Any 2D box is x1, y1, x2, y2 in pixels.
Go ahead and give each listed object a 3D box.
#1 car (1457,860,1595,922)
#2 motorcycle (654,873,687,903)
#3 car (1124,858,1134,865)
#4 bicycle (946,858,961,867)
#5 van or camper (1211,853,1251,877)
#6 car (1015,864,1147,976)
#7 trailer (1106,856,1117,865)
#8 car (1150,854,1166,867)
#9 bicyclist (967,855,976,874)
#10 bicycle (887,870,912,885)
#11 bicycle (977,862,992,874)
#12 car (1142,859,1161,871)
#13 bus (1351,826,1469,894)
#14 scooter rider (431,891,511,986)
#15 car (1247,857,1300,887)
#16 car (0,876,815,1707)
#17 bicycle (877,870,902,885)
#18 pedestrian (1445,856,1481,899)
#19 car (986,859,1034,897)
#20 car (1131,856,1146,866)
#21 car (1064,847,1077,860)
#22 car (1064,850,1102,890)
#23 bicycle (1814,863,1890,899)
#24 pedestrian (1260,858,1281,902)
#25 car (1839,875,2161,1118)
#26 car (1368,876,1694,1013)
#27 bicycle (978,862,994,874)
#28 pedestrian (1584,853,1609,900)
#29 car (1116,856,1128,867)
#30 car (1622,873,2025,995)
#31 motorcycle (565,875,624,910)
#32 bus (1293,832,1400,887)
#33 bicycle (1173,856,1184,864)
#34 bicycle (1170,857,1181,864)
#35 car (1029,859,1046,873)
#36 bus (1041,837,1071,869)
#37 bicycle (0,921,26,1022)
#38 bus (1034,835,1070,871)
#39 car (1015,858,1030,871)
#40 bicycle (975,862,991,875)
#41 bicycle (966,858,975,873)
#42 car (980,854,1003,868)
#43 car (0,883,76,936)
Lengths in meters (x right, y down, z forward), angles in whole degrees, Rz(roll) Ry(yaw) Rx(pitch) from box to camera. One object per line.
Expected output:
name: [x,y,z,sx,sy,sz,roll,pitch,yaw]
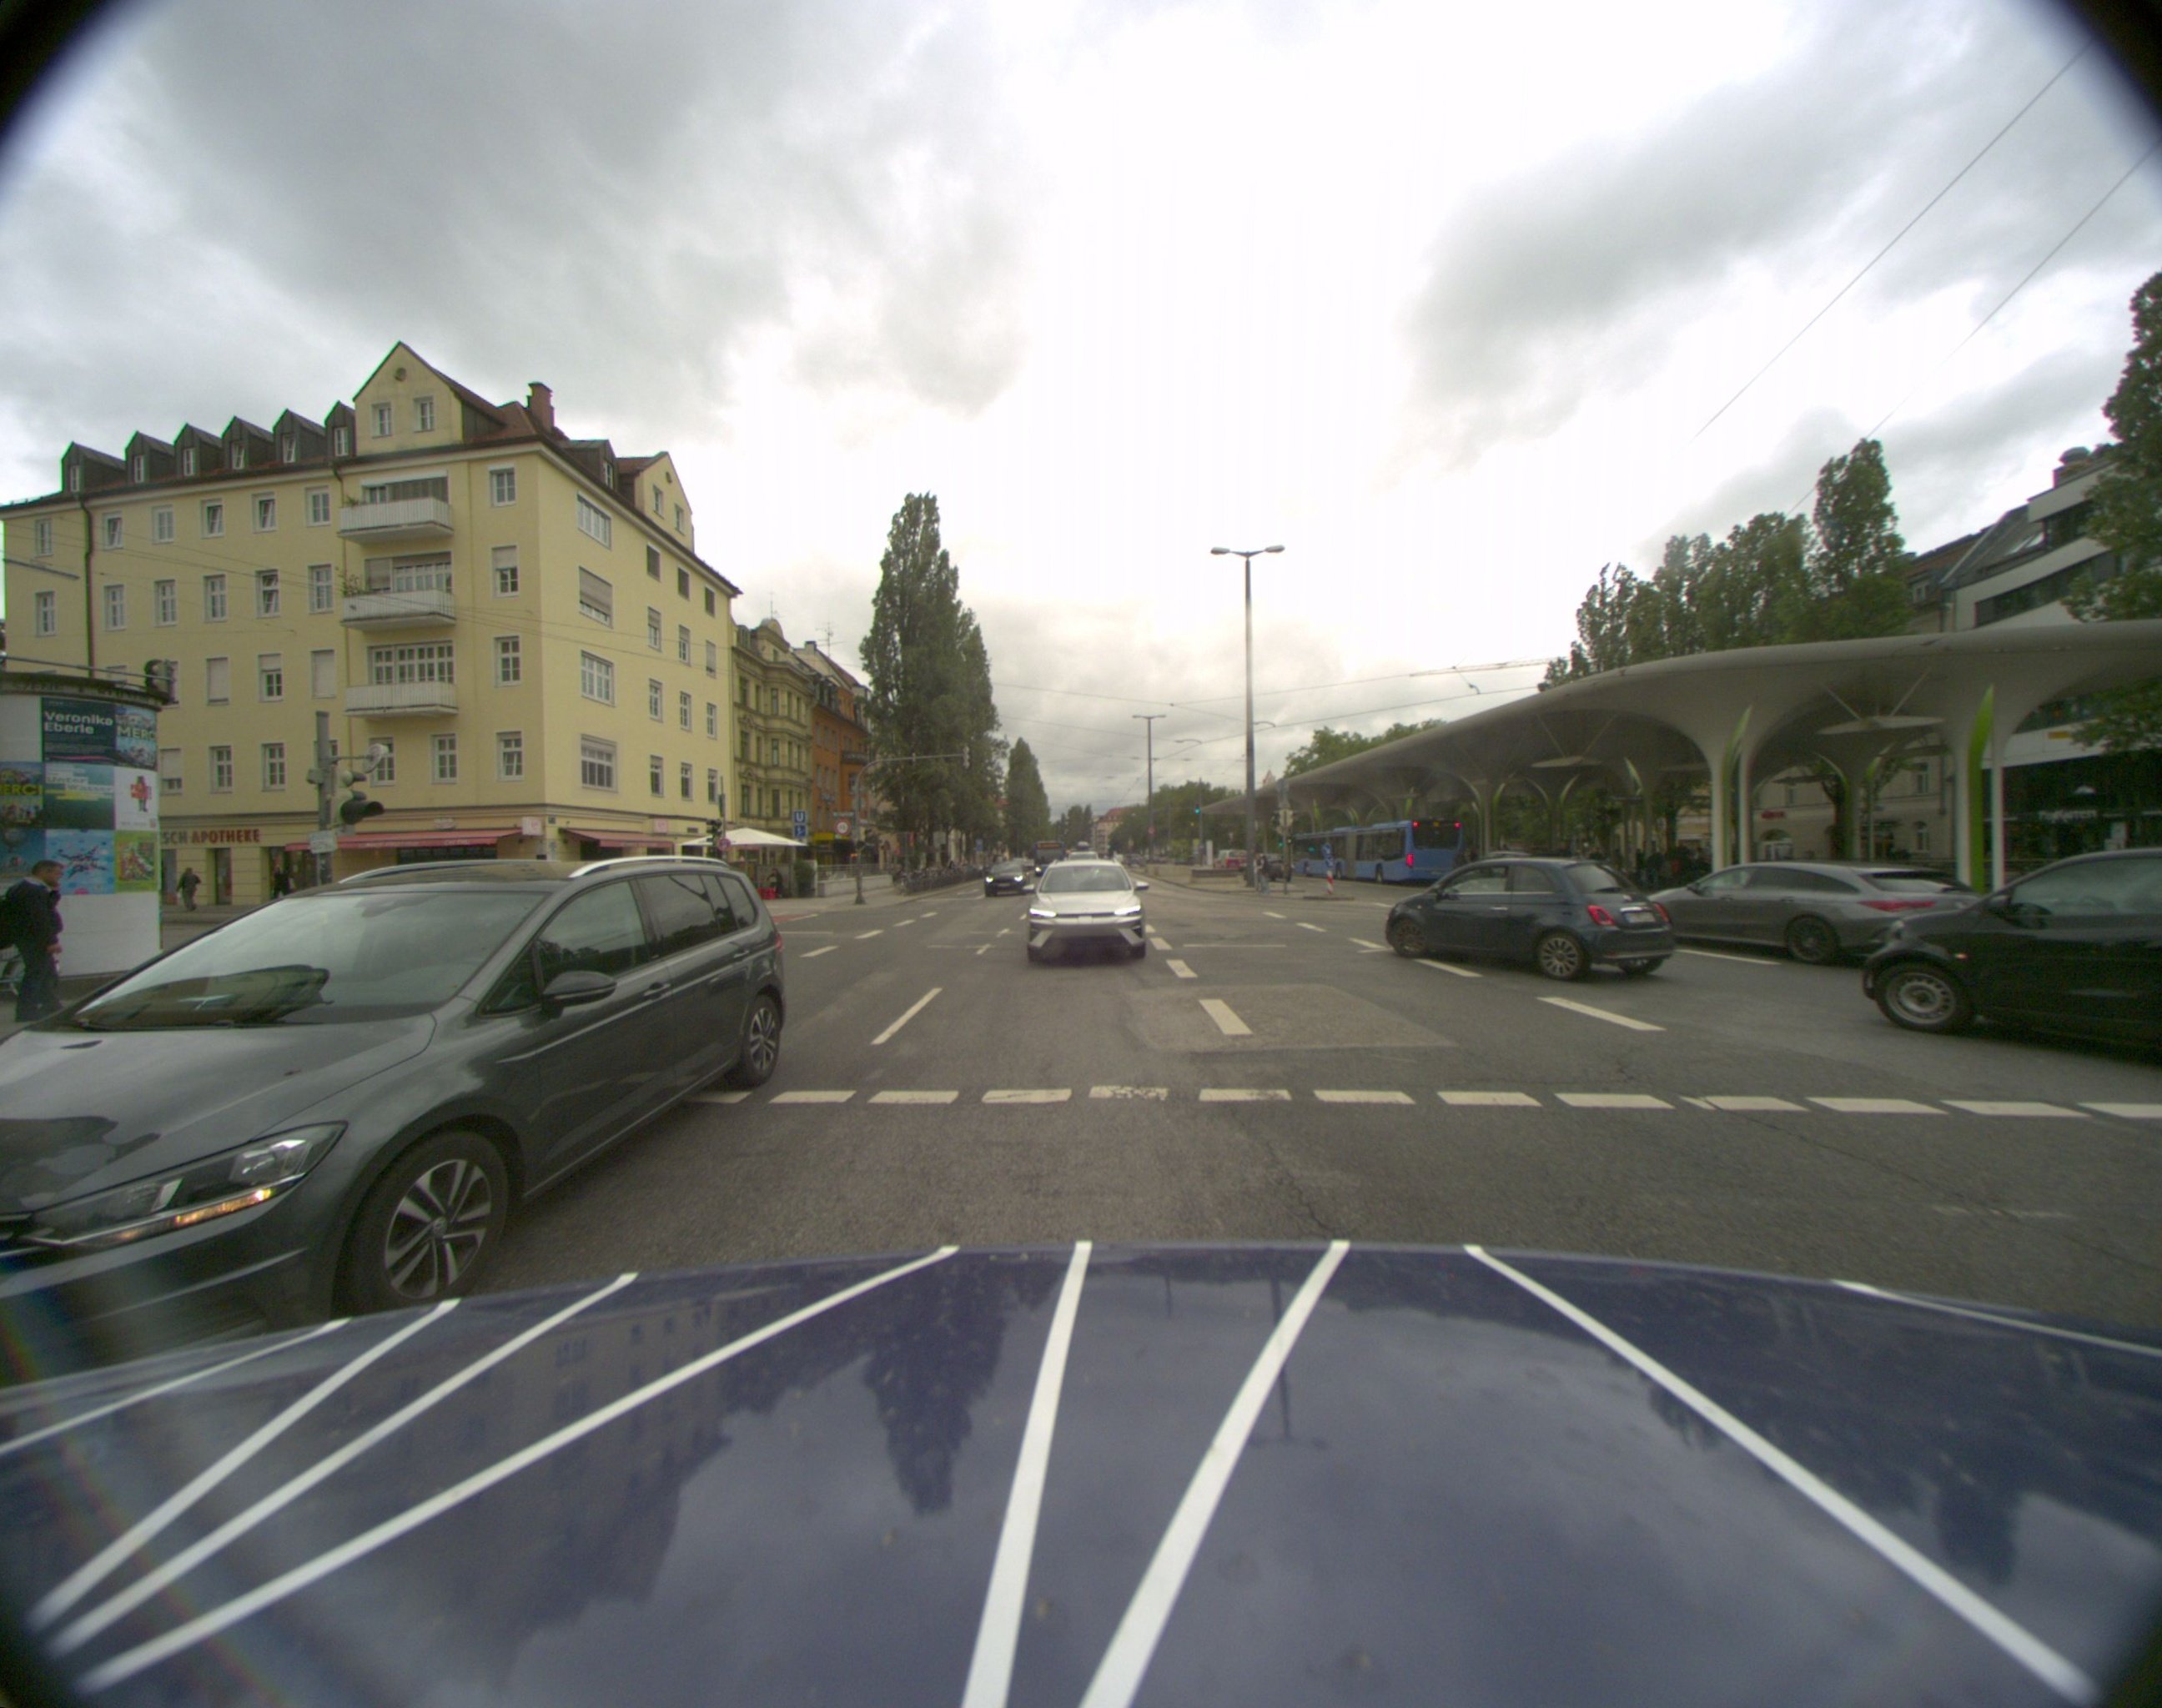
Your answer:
car: [13.060,1.018,22.595,1.787,1.652,4.000,-1,0,1]
motorcycle: [-16.986,1.382,31.461,0.487,1.149,1.571,-1,0,1]
car: [11.357,1.671,179.803,1.868,1.629,4.677,1,0,-2]
bicycle: [-16.316,1.085,97.245,1.890,1.147,0.464,-2,1,-42]
van or camper: [11.933,0.864,60.653,1.933,1.815,5.440,-1,0,-2]
car: [0.054,0.946,13.021,1.812,1.496,4.953,-1,0,1]
trailer: [9.576,2.053,240.051,2.616,2.666,15.639,1,0,0]
car: [11.093,0.910,110.096,1.911,1.829,3.868,-1,0,0]
bicyclist: [-9.468,0.888,65.775,0.681,1.594,0.939,-1,0,0]
bicycle: [-13.102,1.677,54.806,1.728,1.039,0.387,-2,-1,-6]
bicycle: [-8.180,1.219,64.454,0.376,0.989,1.837,-1,-1,-39]
car: [8.578,1.289,92.355,1.848,1.408,4.034,-1,0,-1]
bus: [15.991,0.288,37.643,2.667,2.990,7.513,1,0,1]
scooter rider: [-9.429,1.287,11.766,0.702,1.381,0.643,-1,0,-2]
car: [10.477,0.967,41.615,1.668,1.499,4.281,-2,0,-1]
car: [-3.130,0.998,3.927,1.776,1.637,4.708,-1,0,1]
bicycle: [-14.017,1.727,55.667,1.725,1.039,0.388,-2,-1,11]
pedestrian: [15.375,0.927,30.601,0.974,1.671,0.840,-1,0,-19]
car: [-3.110,1.040,33.964,1.780,1.495,3.969,-1,1,0]
car: [10.882,1.312,143.417,2.181,1.876,6.155,-1,0,-2]
car: [-2.340,-0.058,176.714,2.806,2.836,5.114,-1,0,0]
car: [0.111,0.871,42.866,1.999,2.100,4.000,-1,0,0]
bicycle: [25.870,0.886,25.550,0.642,1.118,2.167,-1,0,9]
pedestrian: [7.076,0.947,28.316,0.488,1.609,0.556,-1,1,-34]
car: [7.678,0.956,5.436,1.508,1.525,2.835,1,0,-8]
car: [5.802,1.041,10.250,1.552,1.437,3.532,0,-1,-25]
bicycle: [-8.130,1.217,65.095,0.376,0.989,1.837,-1,-1,-39]
pedestrian: [18.929,0.828,27.908,0.548,1.710,0.615,-1,1,8]
car: [7.391,1.348,138.743,1.791,1.844,4.217,0,0,-2]
car: [10.774,1.053,11.575,1.999,1.403,4.167,-1,0,-2]
motorcycle: [-17.697,1.378,27.668,1.769,1.193,0.541,-1,1,-30]
bus: [15.938,0.311,46.648,2.667,2.990,10.514,1,0,-1]
bicycle: [16.032,0.999,125.071,1.693,1.165,0.561,-1,0,-10]
bicycle: [15.675,1.019,126.235,1.693,1.165,0.561,-1,0,-10]
car: [-5.225,1.392,91.939,1.780,1.515,3.969,-2,1,0]
bus: [-2.506,-0.085,78.508,2.637,2.956,8.534,-3,0,0]
bicycle: [-13.370,1.372,8.823,1.572,1.153,0.525,0,-1,3]
bus: [-2.547,-0.090,69.498,2.637,2.956,9.466,-3,0,0]
car: [-7.887,1.413,102.661,1.737,1.651,4.502,-1,0,-1]
bicycle: [-8.205,1.219,63.690,0.376,0.989,1.837,-1,-1,-39]
bicycle: [-9.565,0.999,65.937,0.424,1.280,1.778,-1,0,1]
car: [-9.343,0.713,79.813,1.999,1.432,4.528,-1,0,-2]
car: [-31.242,1.560,21.476,3.993,1.414,1.896,-1,0,12]
